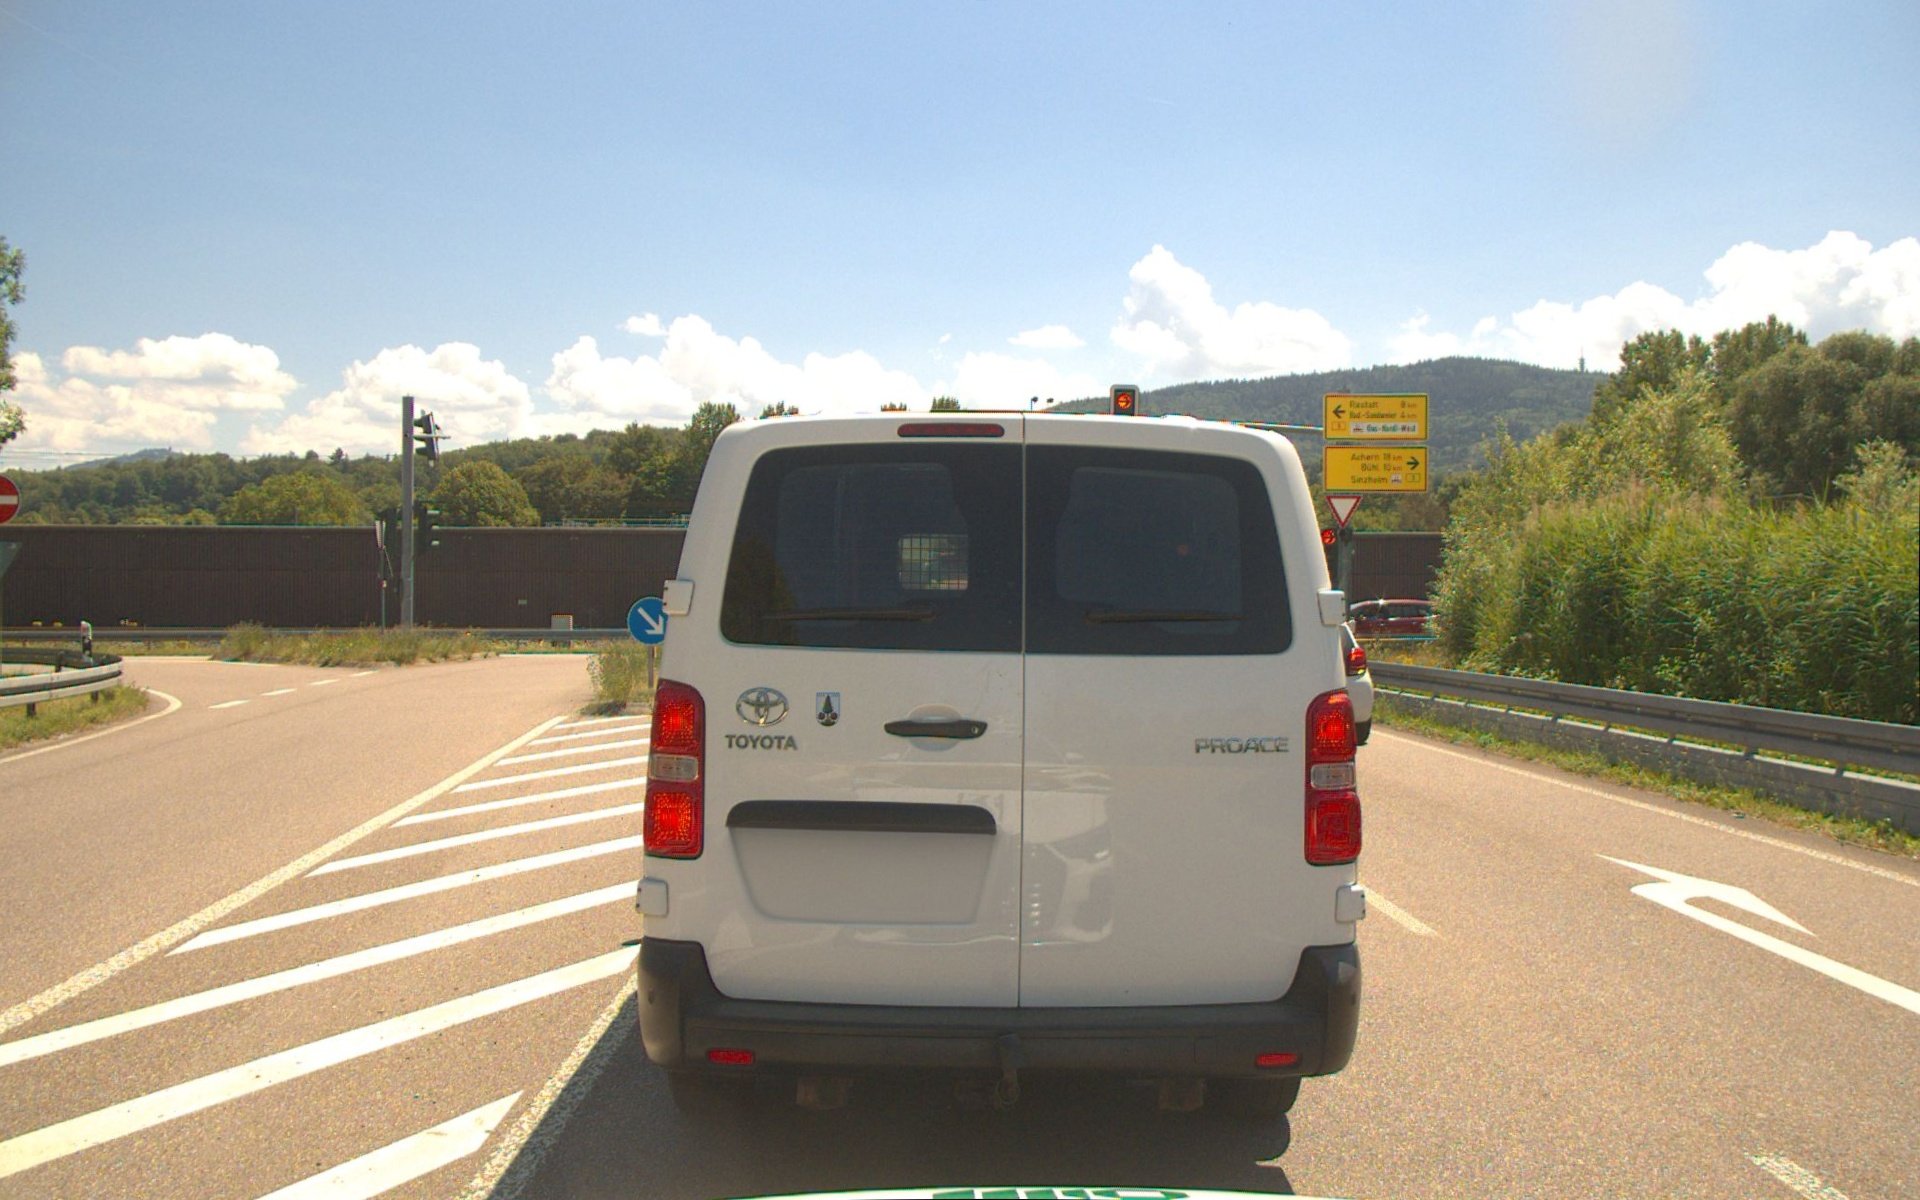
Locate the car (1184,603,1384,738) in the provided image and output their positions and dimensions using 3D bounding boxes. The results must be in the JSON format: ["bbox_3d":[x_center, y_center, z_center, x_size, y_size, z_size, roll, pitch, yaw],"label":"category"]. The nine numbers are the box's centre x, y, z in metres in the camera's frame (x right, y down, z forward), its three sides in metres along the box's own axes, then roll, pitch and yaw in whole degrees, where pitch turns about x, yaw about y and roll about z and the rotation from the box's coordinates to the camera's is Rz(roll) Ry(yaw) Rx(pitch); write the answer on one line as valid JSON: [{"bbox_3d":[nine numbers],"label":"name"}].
[{"bbox_3d":[3.757,0.773,19.688,1.622,1.456,3.364,1,0,-2],"label":"car"}]

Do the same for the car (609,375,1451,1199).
[{"bbox_3d":[0.118,0.485,5.670,1.848,1.919,3.999,1,0,-1],"label":"car"}]

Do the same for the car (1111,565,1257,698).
[{"bbox_3d":[3.714,0.501,28.253,1.889,2.035,4.838,1,0,1],"label":"car"}]

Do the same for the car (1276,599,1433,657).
[{"bbox_3d":[11.889,0.843,49.996,4.225,1.685,1.998,0,0,-4],"label":"car"}]
